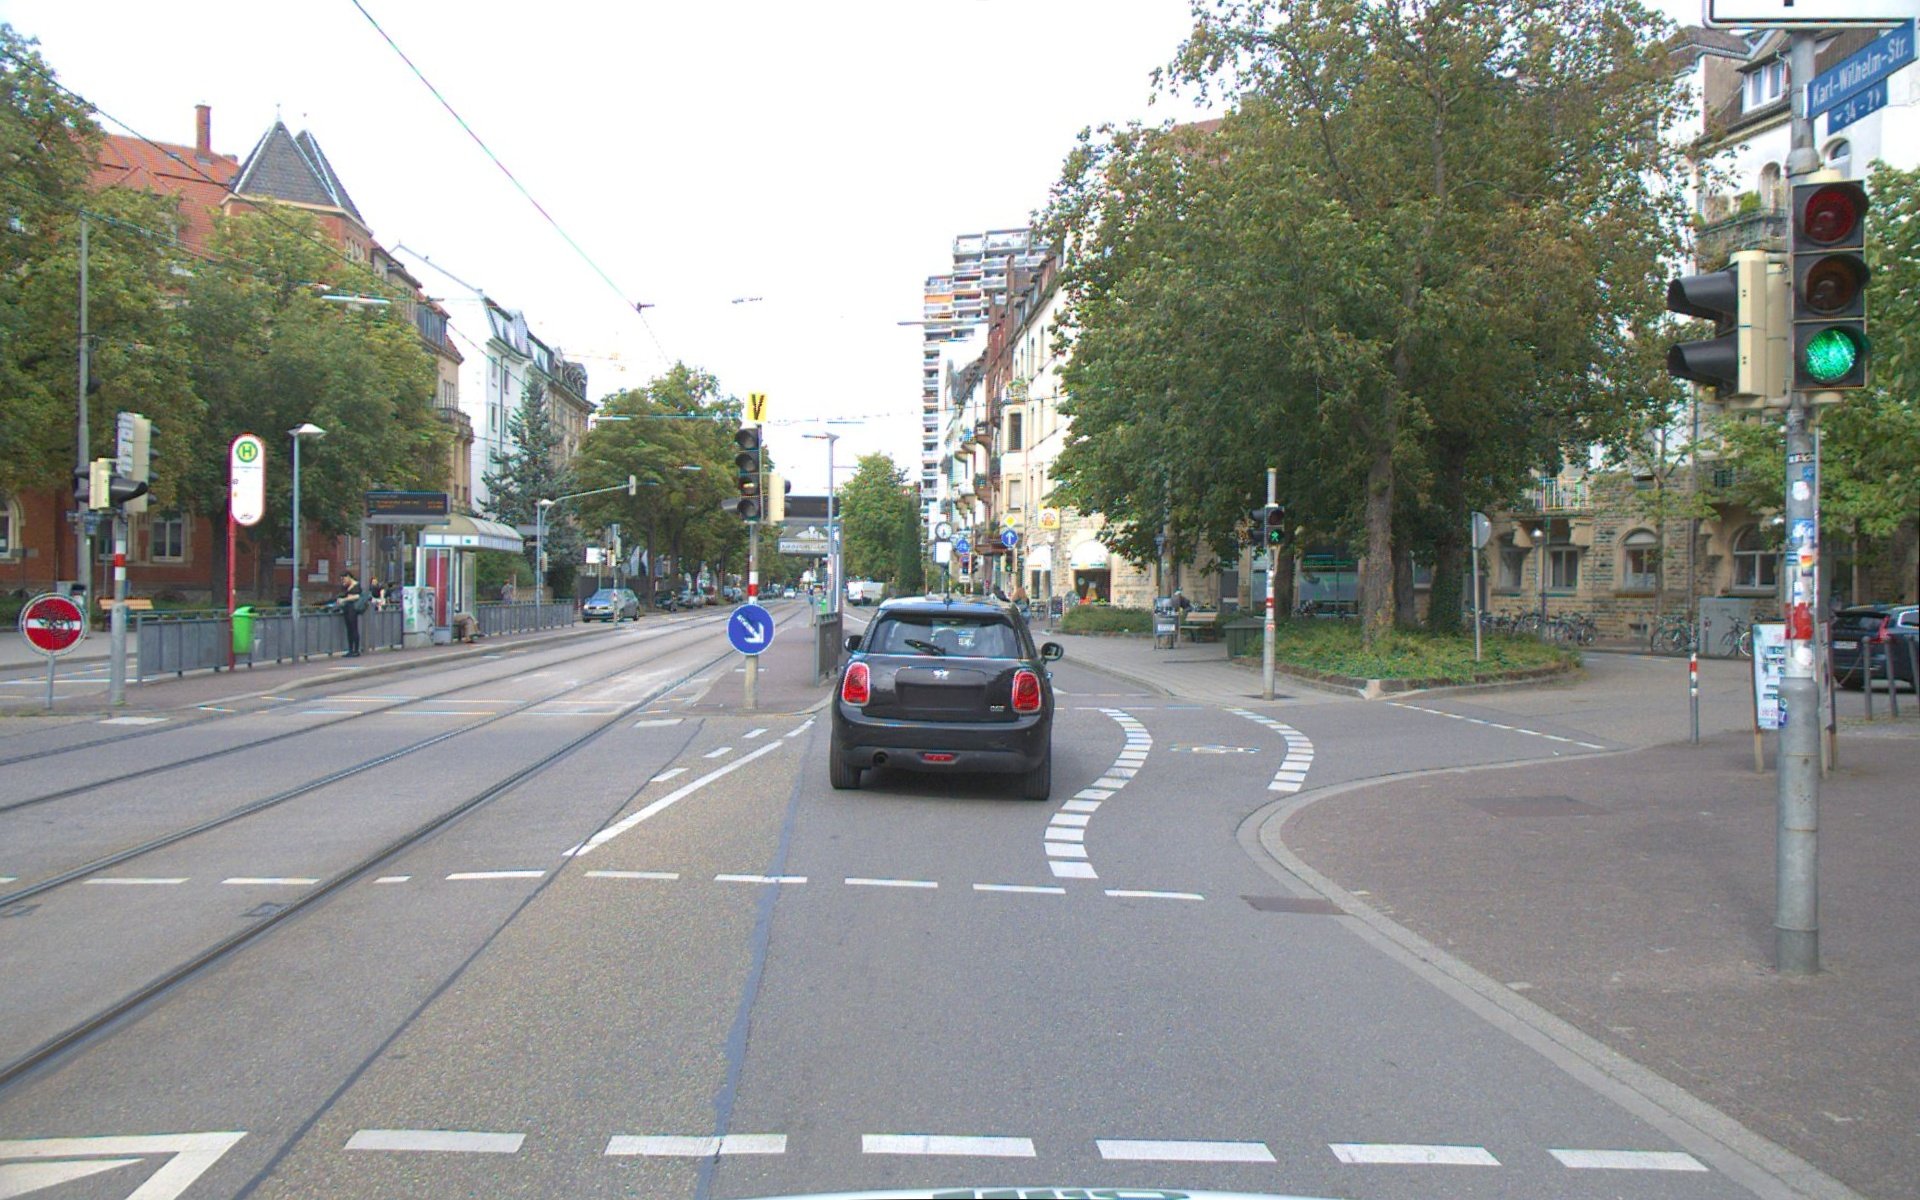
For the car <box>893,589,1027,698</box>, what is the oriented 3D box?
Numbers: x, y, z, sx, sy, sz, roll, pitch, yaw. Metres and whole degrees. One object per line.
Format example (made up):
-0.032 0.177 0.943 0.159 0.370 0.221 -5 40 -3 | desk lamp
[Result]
-0.059 0.610 25.288 1.888 1.536 3.999 0 0 -2 | car

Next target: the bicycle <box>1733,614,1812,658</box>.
21.552 0.959 43.891 1.850 1.147 0.532 0 0 -3 | bicycle

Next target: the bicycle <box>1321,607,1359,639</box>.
13.981 0.841 60.851 0.654 1.147 1.885 0 0 38 | bicycle

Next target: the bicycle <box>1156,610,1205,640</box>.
8.420 0.951 63.176 1.785 1.095 0.614 0 0 37 | bicycle

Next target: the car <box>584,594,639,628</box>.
-15.666 0.476 74.514 1.716 1.466 3.998 2 0 -2 | car

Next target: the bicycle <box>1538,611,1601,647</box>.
19.378 0.916 52.611 1.852 1.147 0.532 0 0 -8 | bicycle

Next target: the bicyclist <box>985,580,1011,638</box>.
1.067 0.241 46.292 0.670 1.591 0.998 0 0 -2 | bicyclist

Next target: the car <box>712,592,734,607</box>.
-24.544 -0.045 171.416 1.954 1.579 3.997 0 0 -4 | car

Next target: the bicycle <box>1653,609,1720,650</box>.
21.000 0.853 47.804 1.856 1.147 0.530 0 0 -16 | bicycle

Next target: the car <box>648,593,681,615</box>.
-19.626 0.243 109.943 1.732 1.420 3.996 0 0 -5 | car

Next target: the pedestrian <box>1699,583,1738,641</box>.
22.751 0.361 49.627 0.717 1.705 0.833 0 0 -10 | pedestrian

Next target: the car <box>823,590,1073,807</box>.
-0.062 0.692 13.666 1.716 1.466 4.000 2 0 1 | car

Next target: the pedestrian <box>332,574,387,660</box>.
-11.598 0.323 31.974 0.836 1.649 0.841 0 0 -9 | pedestrian

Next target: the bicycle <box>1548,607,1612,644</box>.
19.499 0.789 52.034 1.852 1.147 0.532 0 0 -8 | bicycle

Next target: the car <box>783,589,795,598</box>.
-25.659 -0.954 248.339 1.732 1.420 3.996 0 0 -5 | car

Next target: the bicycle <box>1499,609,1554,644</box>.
18.620 0.866 54.358 1.865 1.147 0.589 0 0 -27 | bicycle

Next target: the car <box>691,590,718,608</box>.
-22.930 -0.055 148.521 1.954 1.579 3.997 0 0 -4 | car

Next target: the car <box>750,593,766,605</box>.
-28.604 -0.141 234.166 1.954 1.579 3.997 0 0 -4 | car

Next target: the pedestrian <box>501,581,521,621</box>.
-20.581 0.025 75.821 0.716 1.815 0.835 0 0 -4 | pedestrian

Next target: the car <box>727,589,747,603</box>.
-25.323 -0.489 187.625 1.954 1.579 3.997 0 0 -4 | car

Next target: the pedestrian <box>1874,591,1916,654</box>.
24.685 0.584 43.686 0.815 1.651 0.733 0 0 16 | pedestrian

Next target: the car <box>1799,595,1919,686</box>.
16.685 0.656 28.038 4.392 1.466 1.750 0 0 -16 | car

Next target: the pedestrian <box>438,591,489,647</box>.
-11.966 0.456 39.877 1.039 1.316 0.984 0 0 -9 | pedestrian

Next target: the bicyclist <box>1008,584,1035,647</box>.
1.566 0.382 42.221 0.582 1.577 1.013 0 0 -4 | bicyclist

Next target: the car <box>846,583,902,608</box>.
-8.030 -0.379 155.196 5.002 2.312 2.358 0 0 -45 | car

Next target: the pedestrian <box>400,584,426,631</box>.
-20.180 0.268 61.023 0.817 1.733 0.731 0 0 -9 | pedestrian

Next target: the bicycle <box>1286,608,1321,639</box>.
12.876 0.868 61.992 0.522 1.147 1.885 0 0 38 | bicycle

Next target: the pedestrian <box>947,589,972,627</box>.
-0.017 0.361 75.304 0.720 1.703 0.830 -2 1 42 | pedestrian

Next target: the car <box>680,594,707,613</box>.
-20.868 0.264 129.589 1.732 1.420 3.996 0 0 -5 | car

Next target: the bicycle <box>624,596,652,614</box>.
-19.954 0.309 102.432 1.659 1.138 0.564 0 0 -44 | bicycle

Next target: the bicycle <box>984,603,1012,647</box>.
1.061 0.686 46.352 0.670 1.190 1.696 0 0 -2 | bicycle

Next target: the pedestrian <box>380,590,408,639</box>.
-20.014 0.504 58.488 0.817 1.733 0.731 0 0 -9 | pedestrian

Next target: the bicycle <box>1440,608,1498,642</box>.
17.440 0.845 56.685 1.855 1.147 0.561 0 0 -13 | bicycle

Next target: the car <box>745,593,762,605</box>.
-27.892 -0.149 223.731 1.954 1.579 3.997 0 0 -4 | car

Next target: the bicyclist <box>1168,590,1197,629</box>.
8.491 0.360 63.125 0.897 1.498 0.614 0 0 36 | bicyclist

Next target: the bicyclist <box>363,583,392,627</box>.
-18.214 0.165 51.711 0.647 1.363 0.835 0 0 -4 | bicyclist

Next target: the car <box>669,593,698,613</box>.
-20.360 0.190 121.938 1.732 1.420 3.996 0 0 -5 | car

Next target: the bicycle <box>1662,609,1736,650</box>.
20.950 0.826 46.895 1.848 1.147 0.533 0 0 1 | bicycle

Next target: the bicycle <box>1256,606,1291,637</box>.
11.916 0.805 62.772 0.522 1.147 1.885 0 0 38 | bicycle

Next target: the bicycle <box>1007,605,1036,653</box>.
1.559 0.728 42.225 0.586 1.190 1.695 0 0 -4 | bicycle

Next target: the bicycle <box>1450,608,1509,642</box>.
17.617 0.848 56.111 1.855 1.147 0.597 0 0 -13 | bicycle

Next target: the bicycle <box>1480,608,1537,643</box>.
18.274 0.859 55.093 1.860 1.147 0.579 0 0 -21 | bicycle
